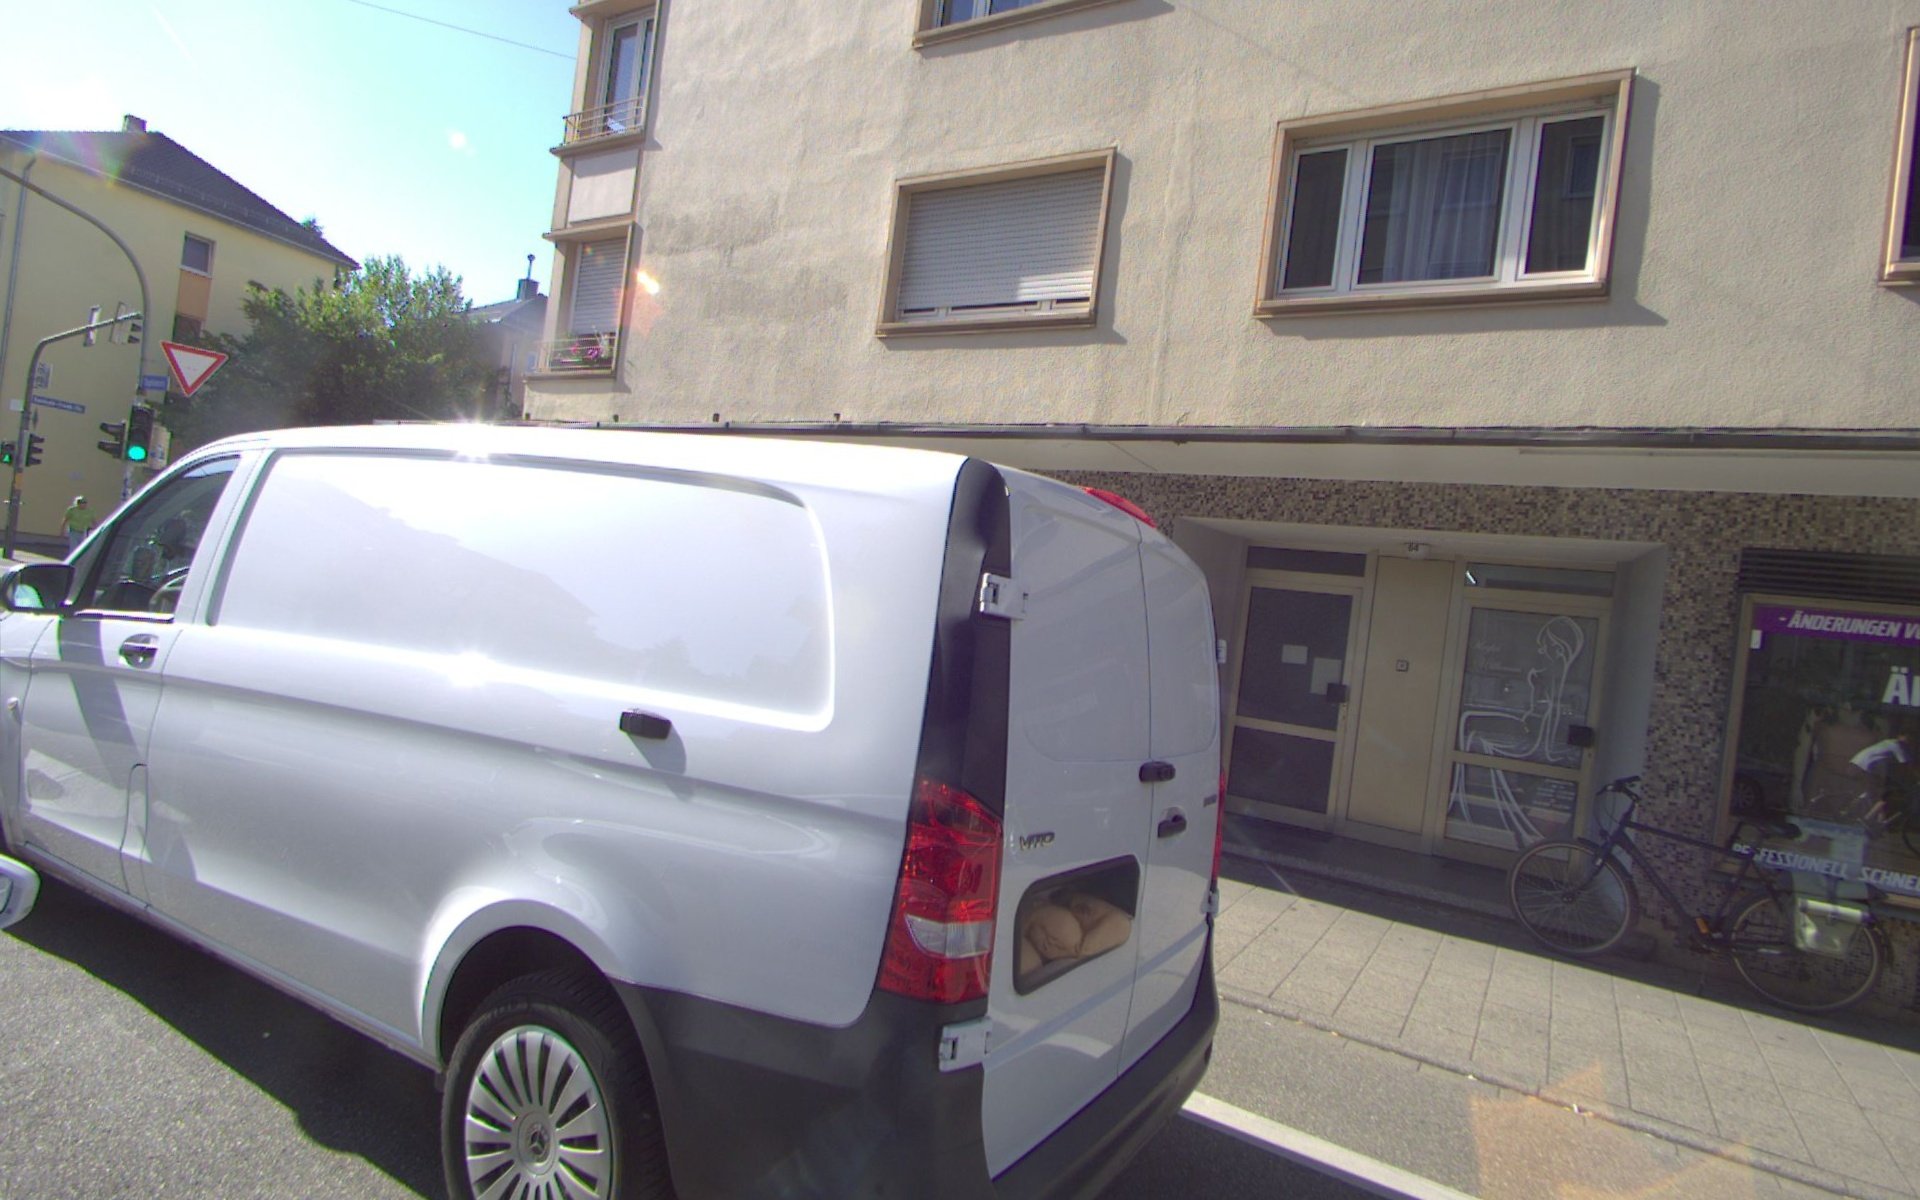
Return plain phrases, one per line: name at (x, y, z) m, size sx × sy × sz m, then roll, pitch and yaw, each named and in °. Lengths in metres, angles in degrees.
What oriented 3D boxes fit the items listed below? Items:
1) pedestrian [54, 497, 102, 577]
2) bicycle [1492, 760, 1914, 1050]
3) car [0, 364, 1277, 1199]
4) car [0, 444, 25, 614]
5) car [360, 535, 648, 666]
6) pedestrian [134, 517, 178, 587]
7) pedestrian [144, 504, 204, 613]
pedestrian at (-20.732, -1.477, 23.641) m, size 0.612 × 1.783 × 0.526 m, roll 7°, pitch 0°, yaw 30°
bicycle at (4.119, 1.642, 5.736) m, size 1.772 × 1.099 × 0.406 m, roll 7°, pitch 2°, yaw 37°
car at (-1.602, 0.409, 3.601) m, size 4.751 × 1.832 × 1.972 m, roll 6°, pitch -1°, yaw 30°
car at (-10.714, -0.668, 9.037) m, size 4.972 × 1.961 × 1.973 m, roll 6°, pitch -3°, yaw 32°
car at (-7.547, 0.086, 17.046) m, size 1.795 × 1.682 × 3.994 m, roll 7°, pitch -1°, yaw 32°
pedestrian at (-19.453, -1.152, 24.350) m, size 0.530 × 1.590 × 0.540 m, roll 7°, pitch 0°, yaw 32°
pedestrian at (-14.054, -0.746, 17.994) m, size 0.620 × 1.844 × 0.602 m, roll 7°, pitch 0°, yaw 45°
